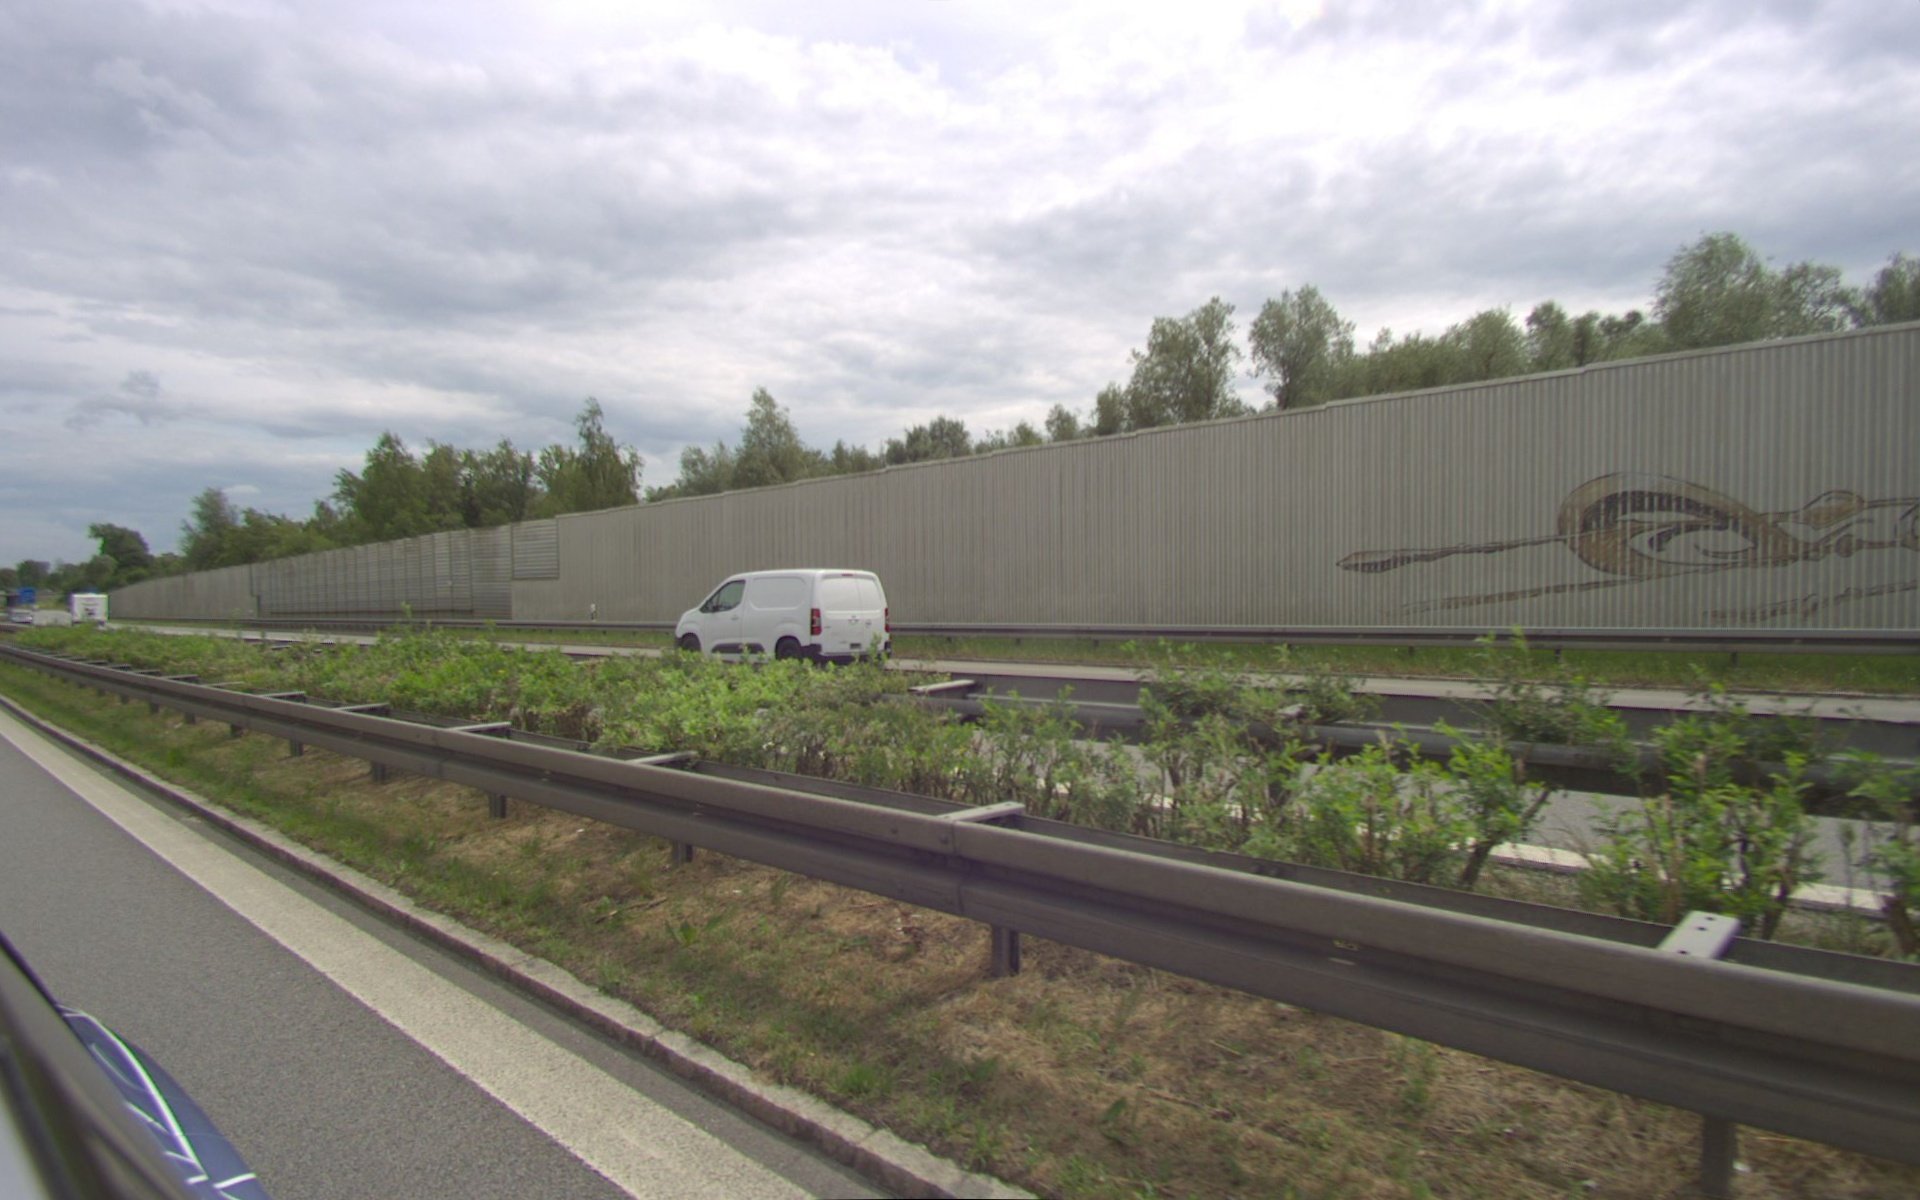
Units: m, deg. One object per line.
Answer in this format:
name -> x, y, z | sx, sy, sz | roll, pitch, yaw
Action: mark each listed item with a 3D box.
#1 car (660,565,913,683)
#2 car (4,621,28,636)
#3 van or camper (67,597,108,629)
car -> -3.064, 0.400, 17.204 | 4.625, 1.758, 1.723 | -1, -1, 41
car -> -94.198, 2.851, 100.999 | 1.672, 1.431, 4.653 | 1, -1, -42
van or camper -> -80.539, 1.224, 93.387 | 2.437, 2.891, 7.775 | 0, -1, -44
